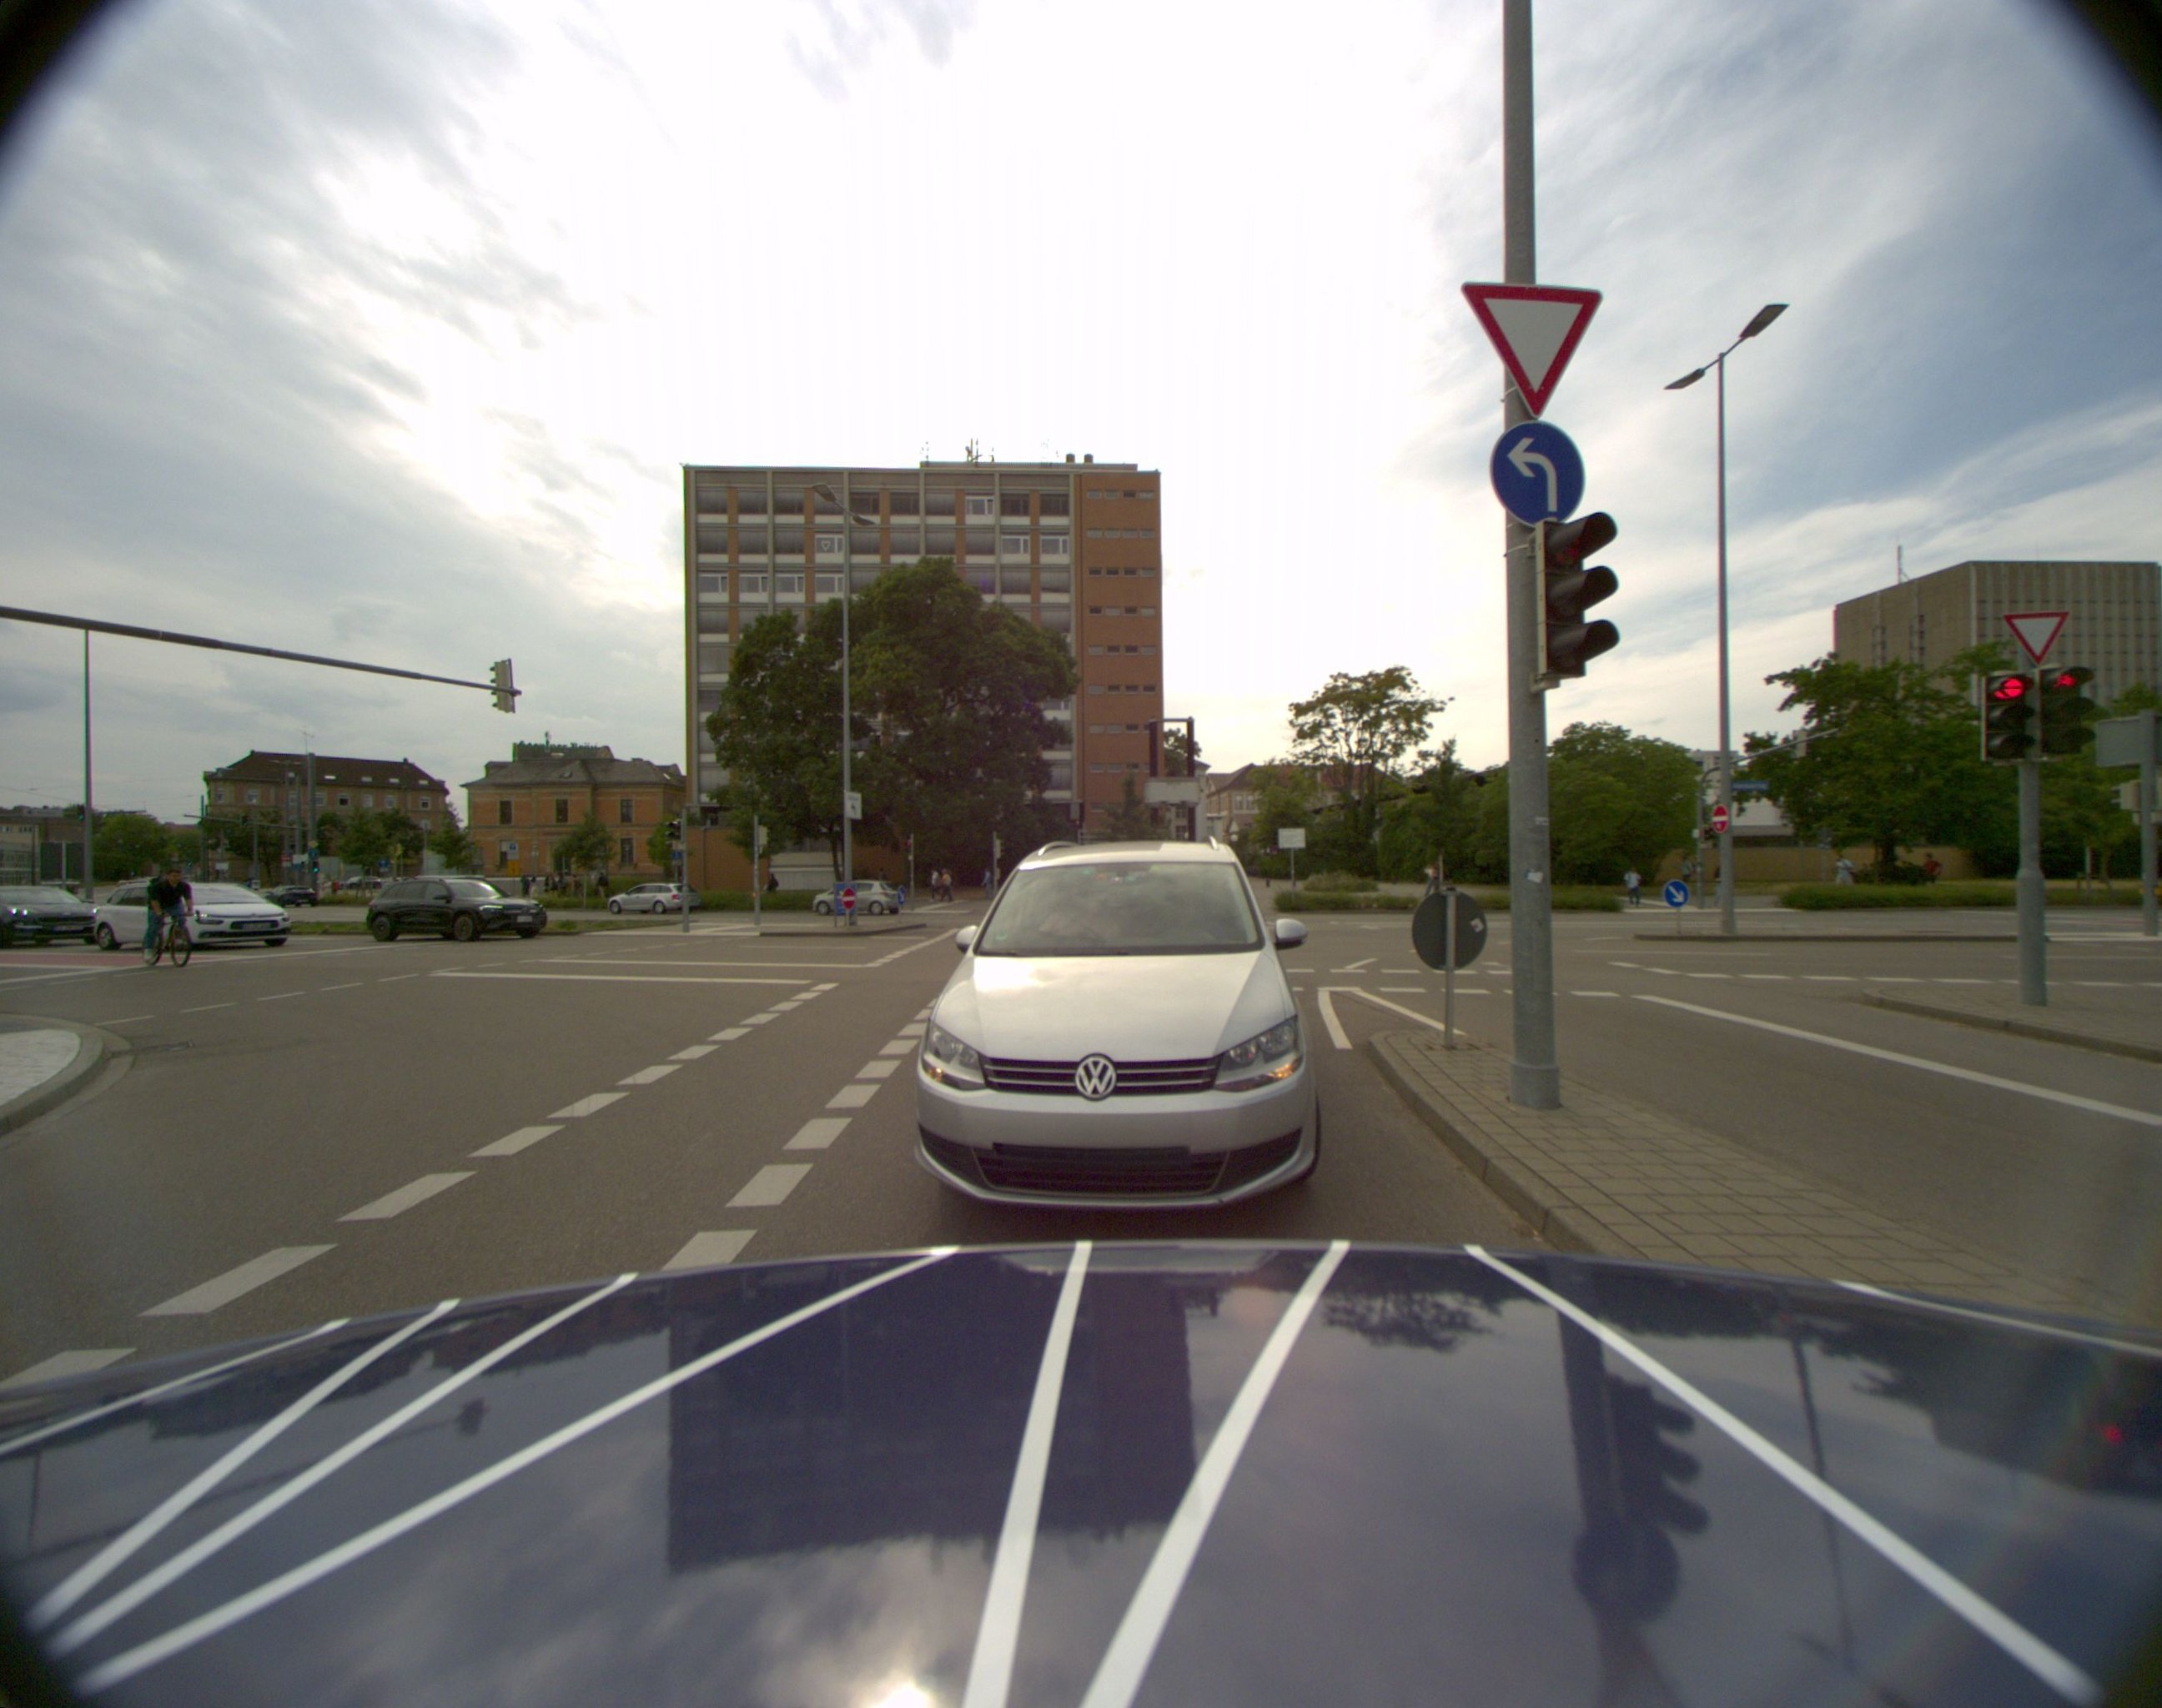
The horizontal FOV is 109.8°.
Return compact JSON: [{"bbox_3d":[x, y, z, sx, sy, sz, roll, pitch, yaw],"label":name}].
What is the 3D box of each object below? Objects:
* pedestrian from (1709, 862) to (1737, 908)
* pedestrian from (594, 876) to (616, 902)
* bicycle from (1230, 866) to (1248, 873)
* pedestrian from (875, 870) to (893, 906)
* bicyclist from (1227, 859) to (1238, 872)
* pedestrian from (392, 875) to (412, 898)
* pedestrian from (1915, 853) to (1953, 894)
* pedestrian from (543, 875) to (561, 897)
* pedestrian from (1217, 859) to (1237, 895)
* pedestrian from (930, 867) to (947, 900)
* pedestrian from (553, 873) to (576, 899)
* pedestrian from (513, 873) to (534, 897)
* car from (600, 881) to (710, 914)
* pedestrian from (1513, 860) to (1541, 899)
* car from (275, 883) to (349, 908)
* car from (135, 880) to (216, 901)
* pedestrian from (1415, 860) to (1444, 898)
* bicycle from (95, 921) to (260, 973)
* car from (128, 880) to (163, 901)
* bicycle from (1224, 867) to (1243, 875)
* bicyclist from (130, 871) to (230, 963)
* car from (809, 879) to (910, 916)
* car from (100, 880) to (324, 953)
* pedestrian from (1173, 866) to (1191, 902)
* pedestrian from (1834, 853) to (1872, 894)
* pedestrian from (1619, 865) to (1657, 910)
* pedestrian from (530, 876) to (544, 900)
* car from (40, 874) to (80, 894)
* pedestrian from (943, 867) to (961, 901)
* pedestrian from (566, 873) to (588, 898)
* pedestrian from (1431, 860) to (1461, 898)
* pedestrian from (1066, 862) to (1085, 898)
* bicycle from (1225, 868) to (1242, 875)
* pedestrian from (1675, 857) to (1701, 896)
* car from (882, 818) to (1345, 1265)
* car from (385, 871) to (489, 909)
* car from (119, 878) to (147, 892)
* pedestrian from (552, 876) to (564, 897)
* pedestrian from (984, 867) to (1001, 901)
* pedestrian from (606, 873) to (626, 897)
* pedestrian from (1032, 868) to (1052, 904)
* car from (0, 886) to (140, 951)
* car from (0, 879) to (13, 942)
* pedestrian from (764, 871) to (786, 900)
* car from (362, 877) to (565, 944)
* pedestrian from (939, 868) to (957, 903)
[{"bbox_3d":[24.179,1.162,28.615,0.587,1.700,0.481,-1,-2,7],"label":"pedestrian"},{"bbox_3d":[-29.254,2.129,46.701,0.810,1.565,0.781,-1,1,24],"label":"pedestrian"},{"bbox_3d":[16.614,1.646,80.097,1.842,0.689,0.653,-1,-2,10],"label":"bicycle"},{"bbox_3d":[-10.410,1.798,40.109,0.707,1.841,0.640,-1,0,5],"label":"pedestrian"},{"bbox_3d":[14.999,1.186,75.267,1.011,1.269,0.841,-1,-1,12],"label":"bicyclist"},{"bbox_3d":[-47.836,2.264,53.505,0.810,1.565,0.782,-1,1,28],"label":"pedestrian"},{"bbox_3d":[36.094,0.849,32.159,0.694,1.700,0.715,-1,-2,2],"label":"pedestrian"},{"bbox_3d":[-38.859,2.379,55.829,0.810,1.565,0.782,-1,1,28],"label":"pedestrian"},{"bbox_3d":[6.972,1.114,36.280,0.799,1.700,0.840,-1,-2,5],"label":"pedestrian"},{"bbox_3d":[-7.468,1.539,39.806,0.707,1.701,0.640,-1,0,5],"label":"pedestrian"},{"bbox_3d":[-31.759,1.938,46.723,0.810,1.565,0.781,-1,1,24],"label":"pedestrian"},{"bbox_3d":[-37.334,2.088,50.893,0.810,1.565,0.782,-1,1,28],"label":"pedestrian"},{"bbox_3d":[-20.073,2.049,35.835,4.520,1.465,1.828,-2,-2,15],"label":"car"},{"bbox_3d":[20.065,1.145,34.180,0.799,1.700,0.715,-1,-2,-1],"label":"pedestrian"},{"bbox_3d":[-49.389,2.676,48.808,3.993,1.523,1.867,-2,-2,21],"label":"car"},{"bbox_3d":[-76.633,3.087,64.394,1.998,1.673,4.003,-1,-2,3],"label":"car"},{"bbox_3d":[15.916,1.148,34.711,0.800,1.700,0.839,-1,-2,-13],"label":"pedestrian"},{"bbox_3d":[-16.821,1.724,14.170,2.515,0.871,0.866,-1,-2,11],"label":"bicycle"},{"bbox_3d":[-93.184,3.620,75.664,3.989,2.001,2.005,-3,-3,36],"label":"car"},{"bbox_3d":[15.072,1.667,75.250,1.842,0.689,0.845,-1,-2,11],"label":"bicycle"},{"bbox_3d":[-16.800,1.155,14.186,0.879,1.658,0.871,-1,-2,11],"label":"bicyclist"},{"bbox_3d":[-9.526,1.873,32.759,3.868,1.480,1.674,-2,-2,15],"label":"car"},{"bbox_3d":[-21.504,1.519,18.852,4.282,1.640,2.003,-2,-2,16],"label":"car"},{"bbox_3d":[4.797,1.434,36.097,0.799,1.700,0.840,-1,-2,5],"label":"pedestrian"},{"bbox_3d":[32.989,0.851,32.492,0.694,1.700,0.842,-1,-2,-1],"label":"pedestrian"},{"bbox_3d":[21.675,1.305,29.575,0.838,1.700,0.800,-1,-2,7],"label":"pedestrian"},{"bbox_3d":[-35.726,2.256,49.887,0.550,1.528,0.548,-2,1,-18],"label":"pedestrian"},{"bbox_3d":[-100.664,2.967,74.923,3.989,1.911,2.005,-2,-3,32],"label":"car"},{"bbox_3d":[-6.570,1.534,38.743,0.707,1.700,0.640,-1,-2,5],"label":"pedestrian"},{"bbox_3d":[-31.949,2.003,48.144,0.810,1.565,0.781,-1,1,24],"label":"pedestrian"},{"bbox_3d":[16.287,1.117,33.929,0.800,1.700,0.839,-1,-2,-13],"label":"pedestrian"},{"bbox_3d":[-0.255,1.286,37.447,0.799,1.700,0.840,-1,-2,5],"label":"pedestrian"},{"bbox_3d":[16.700,1.881,83.220,1.842,0.689,0.653,-1,-2,10],"label":"bicycle"},{"bbox_3d":[26.620,0.990,33.313,0.694,1.686,0.544,-1,2,-1],"label":"pedestrian"},{"bbox_3d":[0.337,0.831,5.292,1.823,1.723,4.532,-1,-2,6],"label":"car"},{"bbox_3d":[-35.023,1.956,41.314,5.194,1.947,1.828,-2,-2,18],"label":"car"},{"bbox_3d":[-109.130,3.553,87.471,3.537,1.605,1.845,-3,-3,36],"label":"car"},{"bbox_3d":[-33.823,2.092,49.107,0.551,1.334,0.548,-2,1,-40],"label":"pedestrian"},{"bbox_3d":[-4.565,1.535,39.034,0.707,1.701,0.640,-1,2,5],"label":"pedestrian"},{"bbox_3d":[-30.687,2.045,50.147,0.810,1.565,0.782,-1,1,28],"label":"pedestrian"},{"bbox_3d":[-1.875,1.552,36.511,0.799,1.700,0.840,-1,-2,5],"label":"pedestrian"},{"bbox_3d":[-28.545,1.727,20.782,4.282,1.640,2.003,-2,-2,16],"label":"car"},{"bbox_3d":[-34.908,1.736,22.789,4.282,1.886,2.003,-2,-2,16],"label":"car"},{"bbox_3d":[-17.283,1.783,42.906,0.811,1.565,0.780,-1,1,5],"label":"pedestrian"},{"bbox_3d":[-16.472,1.492,20.322,4.503,1.640,2.003,-2,-2,16],"label":"car"},{"bbox_3d":[-6.660,1.567,37.991,0.707,1.701,0.640,-1,1,5],"label":"pedestrian"}]
